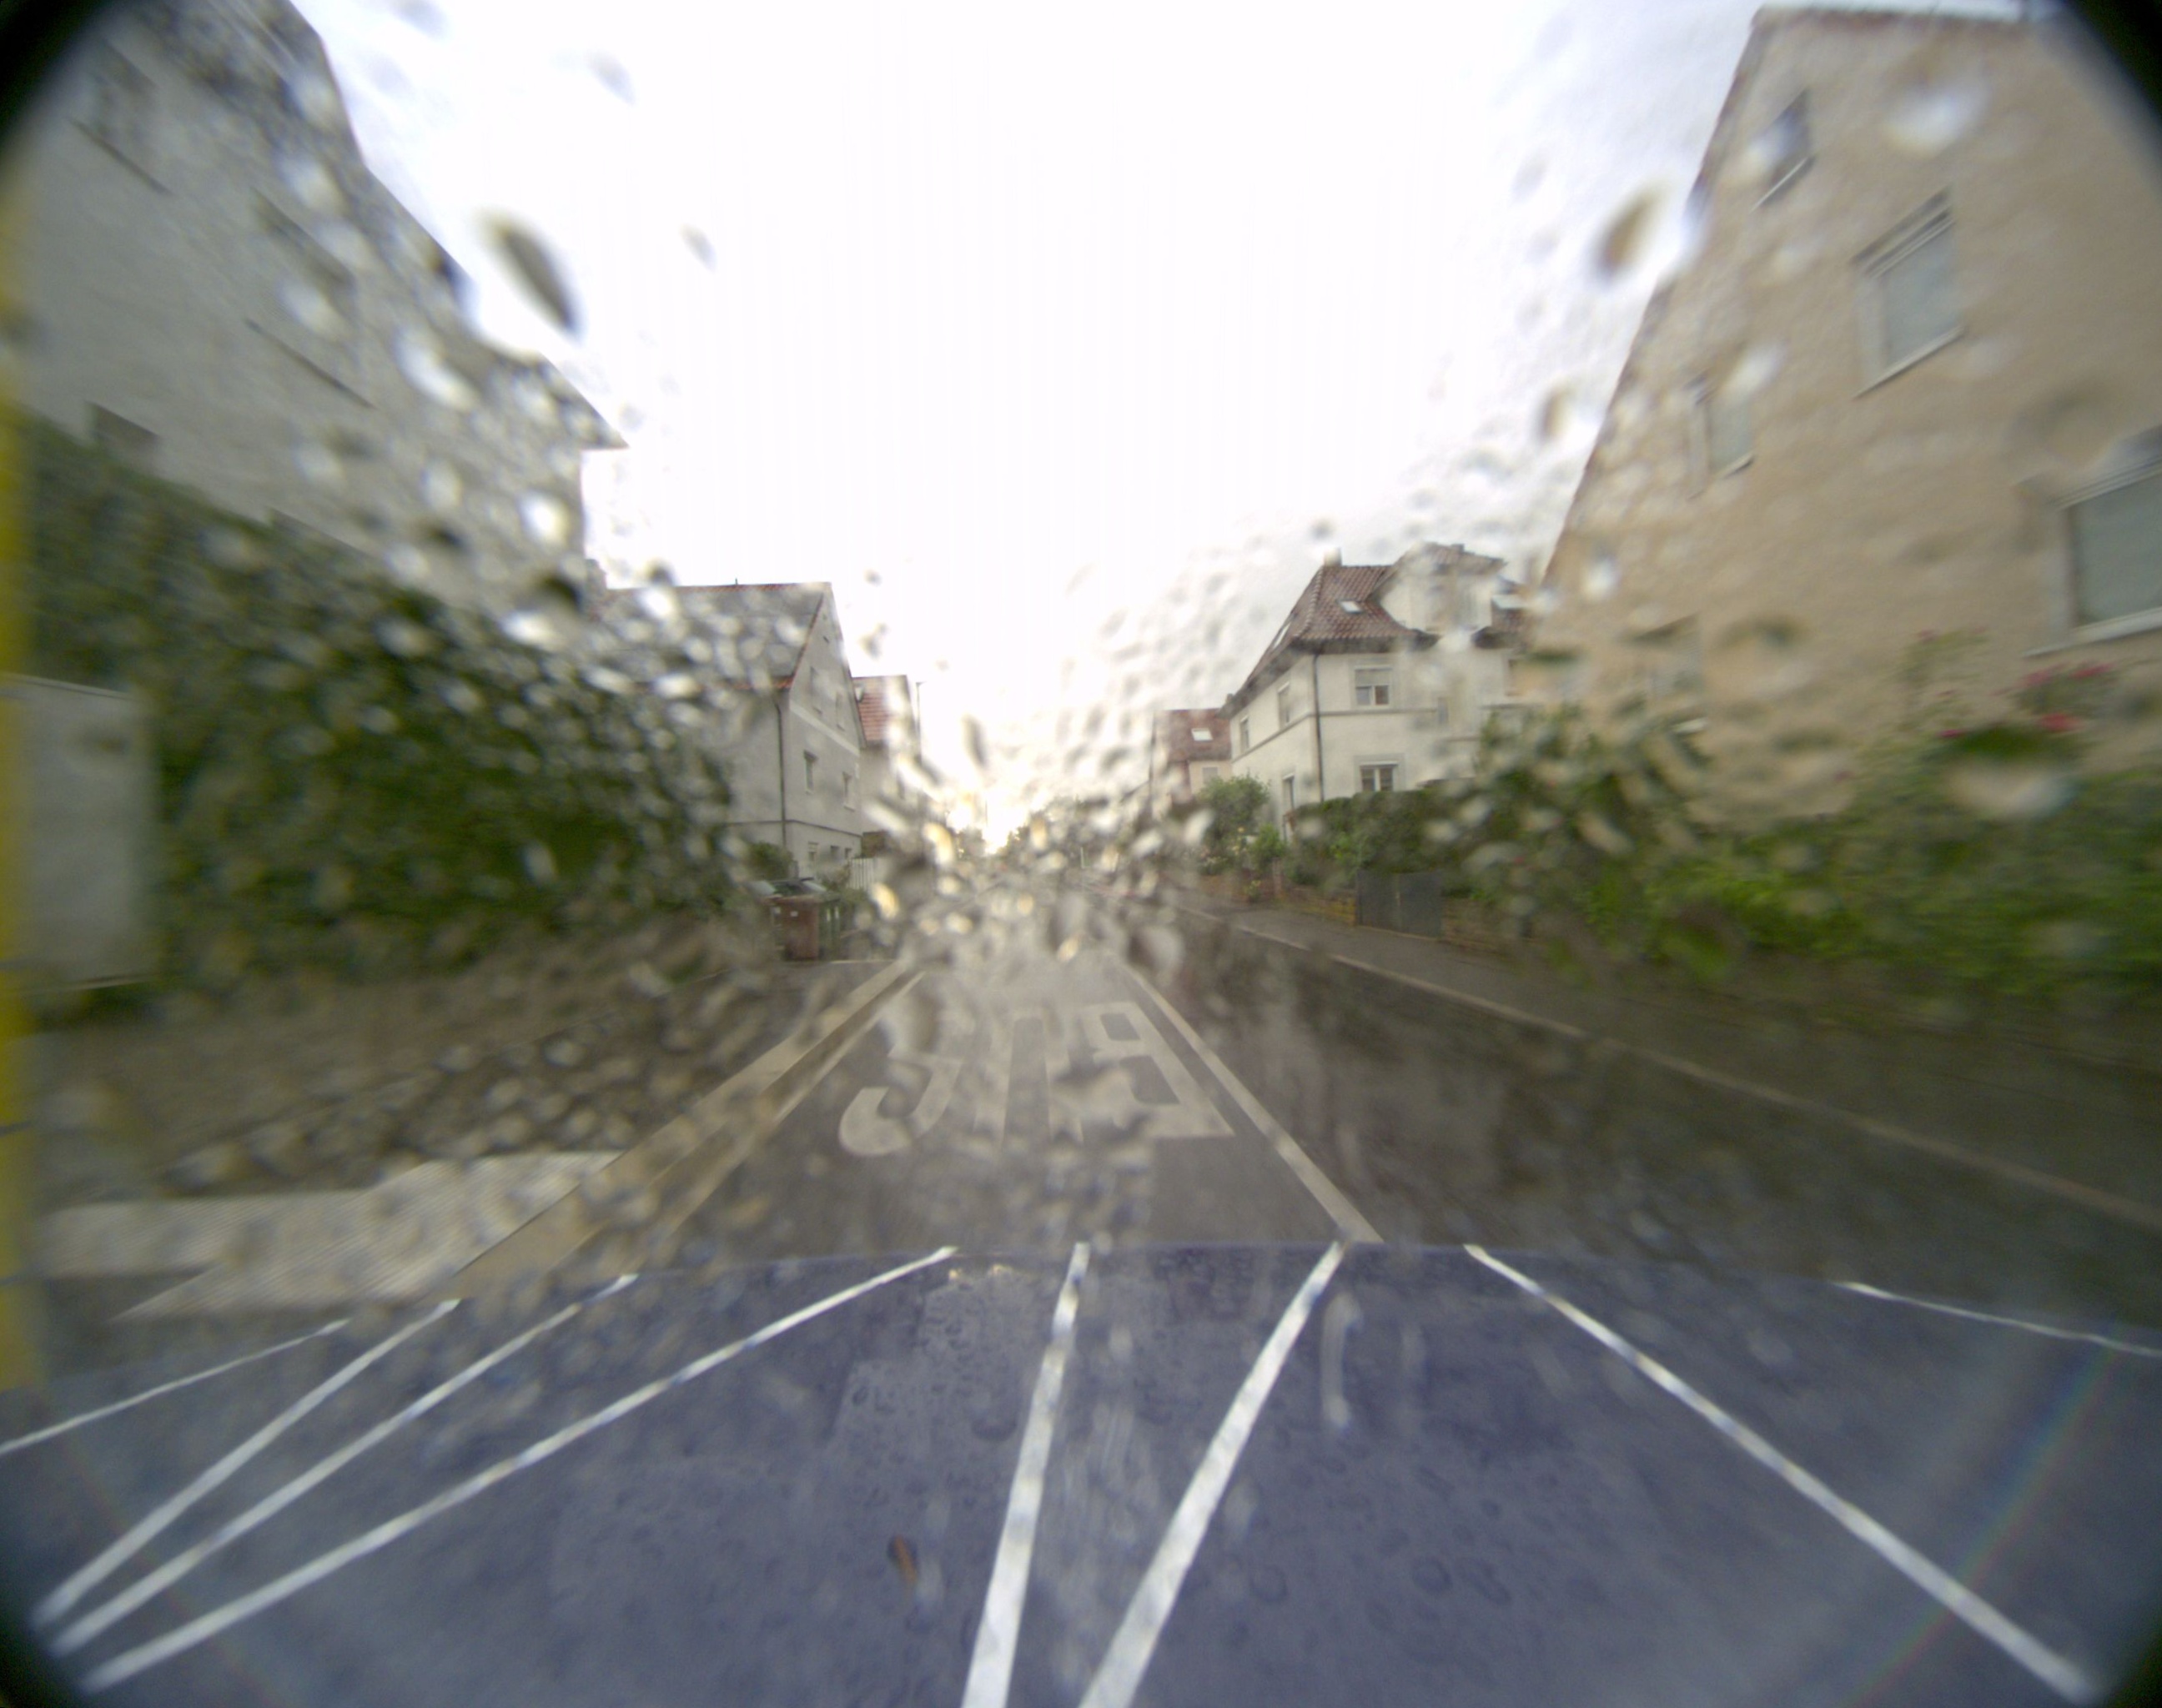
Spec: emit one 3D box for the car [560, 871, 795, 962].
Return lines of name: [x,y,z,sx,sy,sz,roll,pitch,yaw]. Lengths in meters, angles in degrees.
car: [-7.364,1.114,14.120,3.486,1.501,1.580,-1,0,-3]

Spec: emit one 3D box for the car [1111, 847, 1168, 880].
car: [4.656,0.774,60.988,4.000,1.963,1.873,10,-1,-6]

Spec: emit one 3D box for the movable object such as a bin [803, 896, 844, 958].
movable object such as a bin: [-4.750,1.345,14.047,0.569,1.070,0.537,-2,0,-5]

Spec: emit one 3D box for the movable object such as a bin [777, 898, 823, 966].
movable object such as a bin: [-4.752,1.315,12.877,0.569,1.070,0.523,-2,0,-5]

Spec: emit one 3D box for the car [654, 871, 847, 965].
car: [-7.305,1.388,17.060,3.454,1.473,1.580,-8,1,-3]

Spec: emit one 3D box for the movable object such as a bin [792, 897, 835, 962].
movable object such as a bin: [-4.727,1.322,13.456,0.569,1.070,0.537,-2,0,-5]

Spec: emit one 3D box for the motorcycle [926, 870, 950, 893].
motorcycle: [-6.643,1.262,35.202,0.557,1.007,1.147,-2,1,-42]

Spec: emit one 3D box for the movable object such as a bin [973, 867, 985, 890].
movable object such as a bin: [-5.507,1.314,41.097,0.569,1.179,0.537,-1,0,-5]
